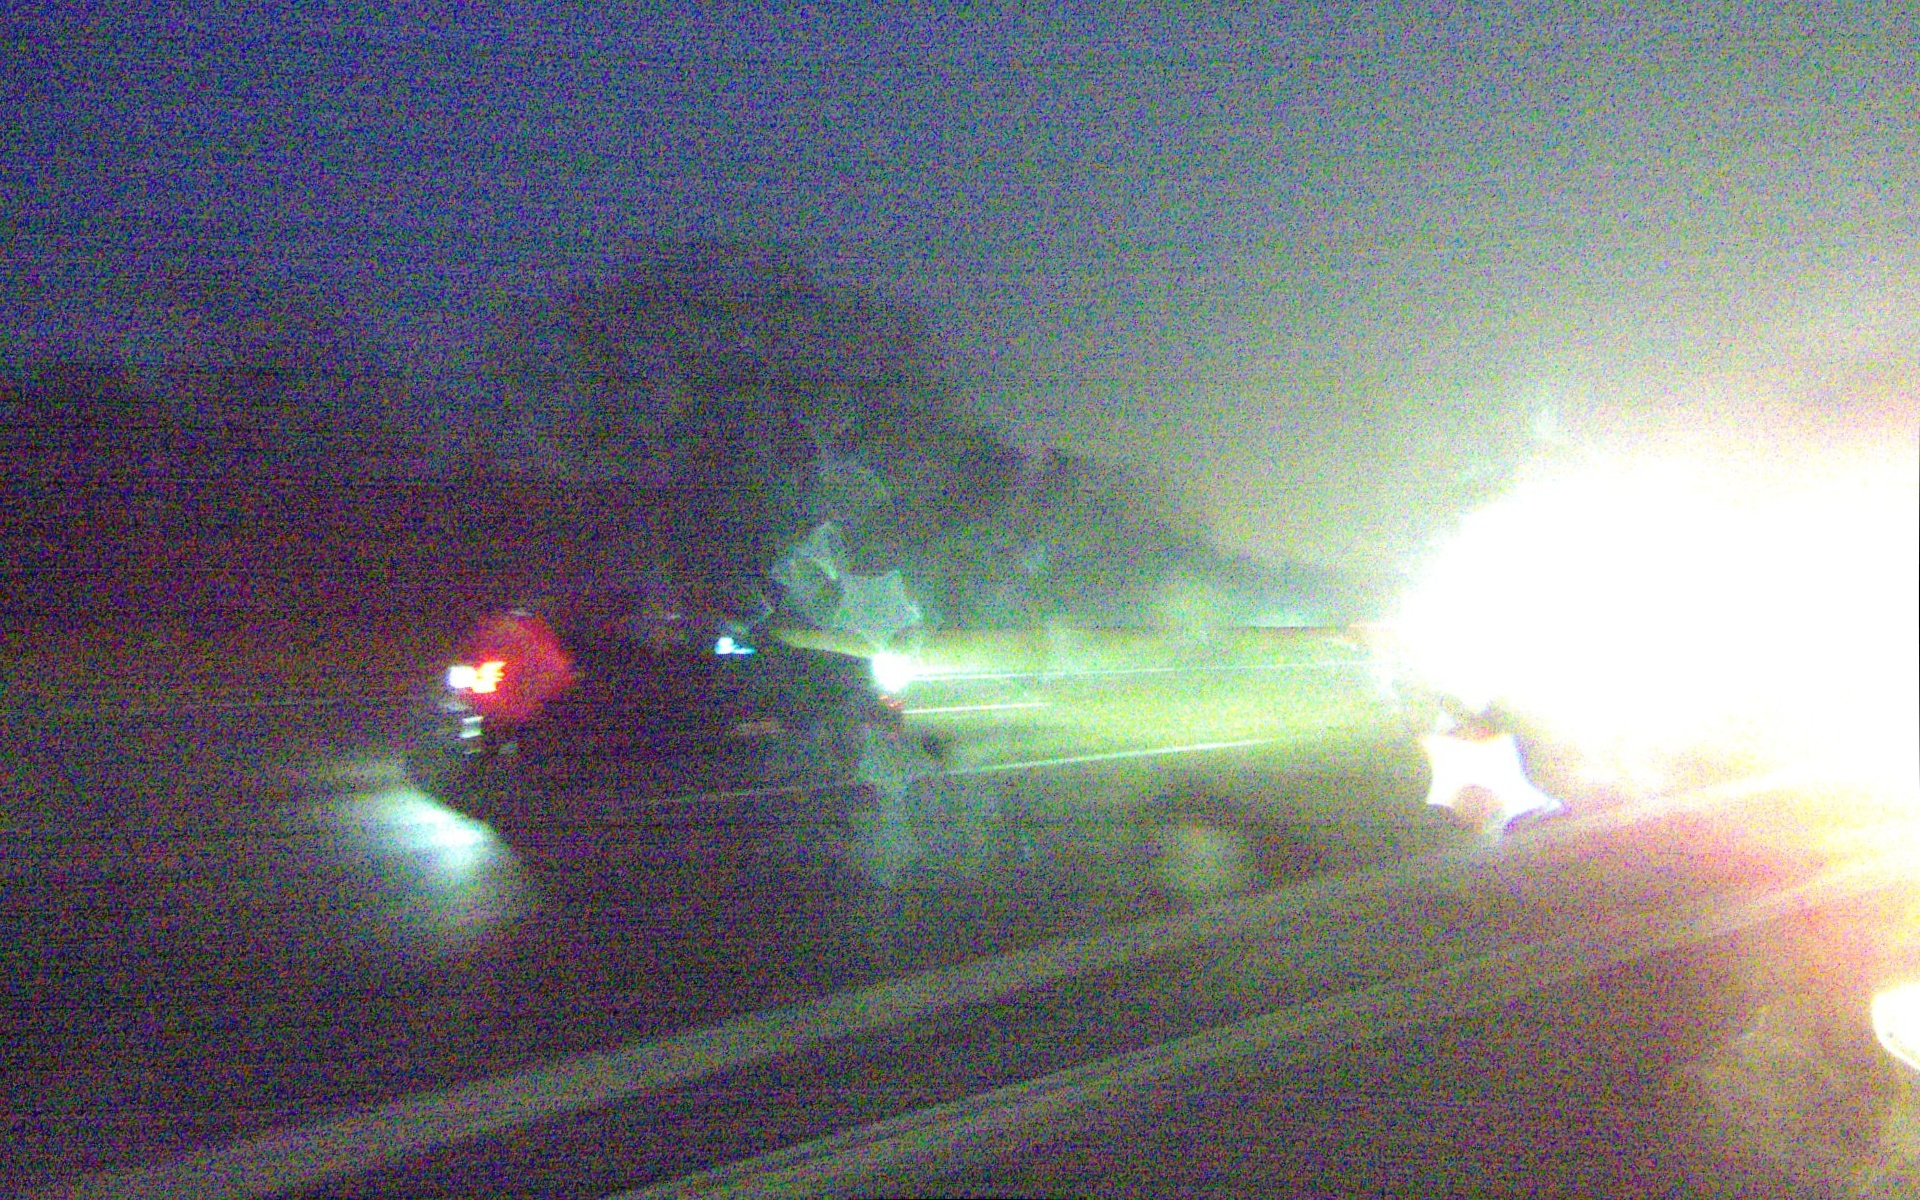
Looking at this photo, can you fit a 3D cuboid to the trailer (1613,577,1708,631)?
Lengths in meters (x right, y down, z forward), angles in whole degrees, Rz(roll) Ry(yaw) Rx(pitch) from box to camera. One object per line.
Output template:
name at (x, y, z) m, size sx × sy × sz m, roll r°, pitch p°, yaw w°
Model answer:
trailer at (49.392, 0.312, 70.733) m, size 8.802 × 3.557 × 2.607 m, roll 1°, pitch 1°, yaw -36°

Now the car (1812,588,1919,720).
car at (16.740, 0.892, 17.359) m, size 4.603 × 2.041 × 2.110 m, roll 1°, pitch 1°, yaw -37°

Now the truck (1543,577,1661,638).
truck at (41.943, 0.533, 65.428) m, size 10.757 × 3.743 × 2.607 m, roll 1°, pitch 1°, yaw -36°

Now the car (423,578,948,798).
car at (-2.303, 0.611, 8.694) m, size 3.959 × 1.460 × 1.981 m, roll 1°, pitch 1°, yaw -35°

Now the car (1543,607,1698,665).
car at (19.339, 1.010, 29.328) m, size 5.112 × 1.496 × 1.981 m, roll 1°, pitch 1°, yaw -35°
